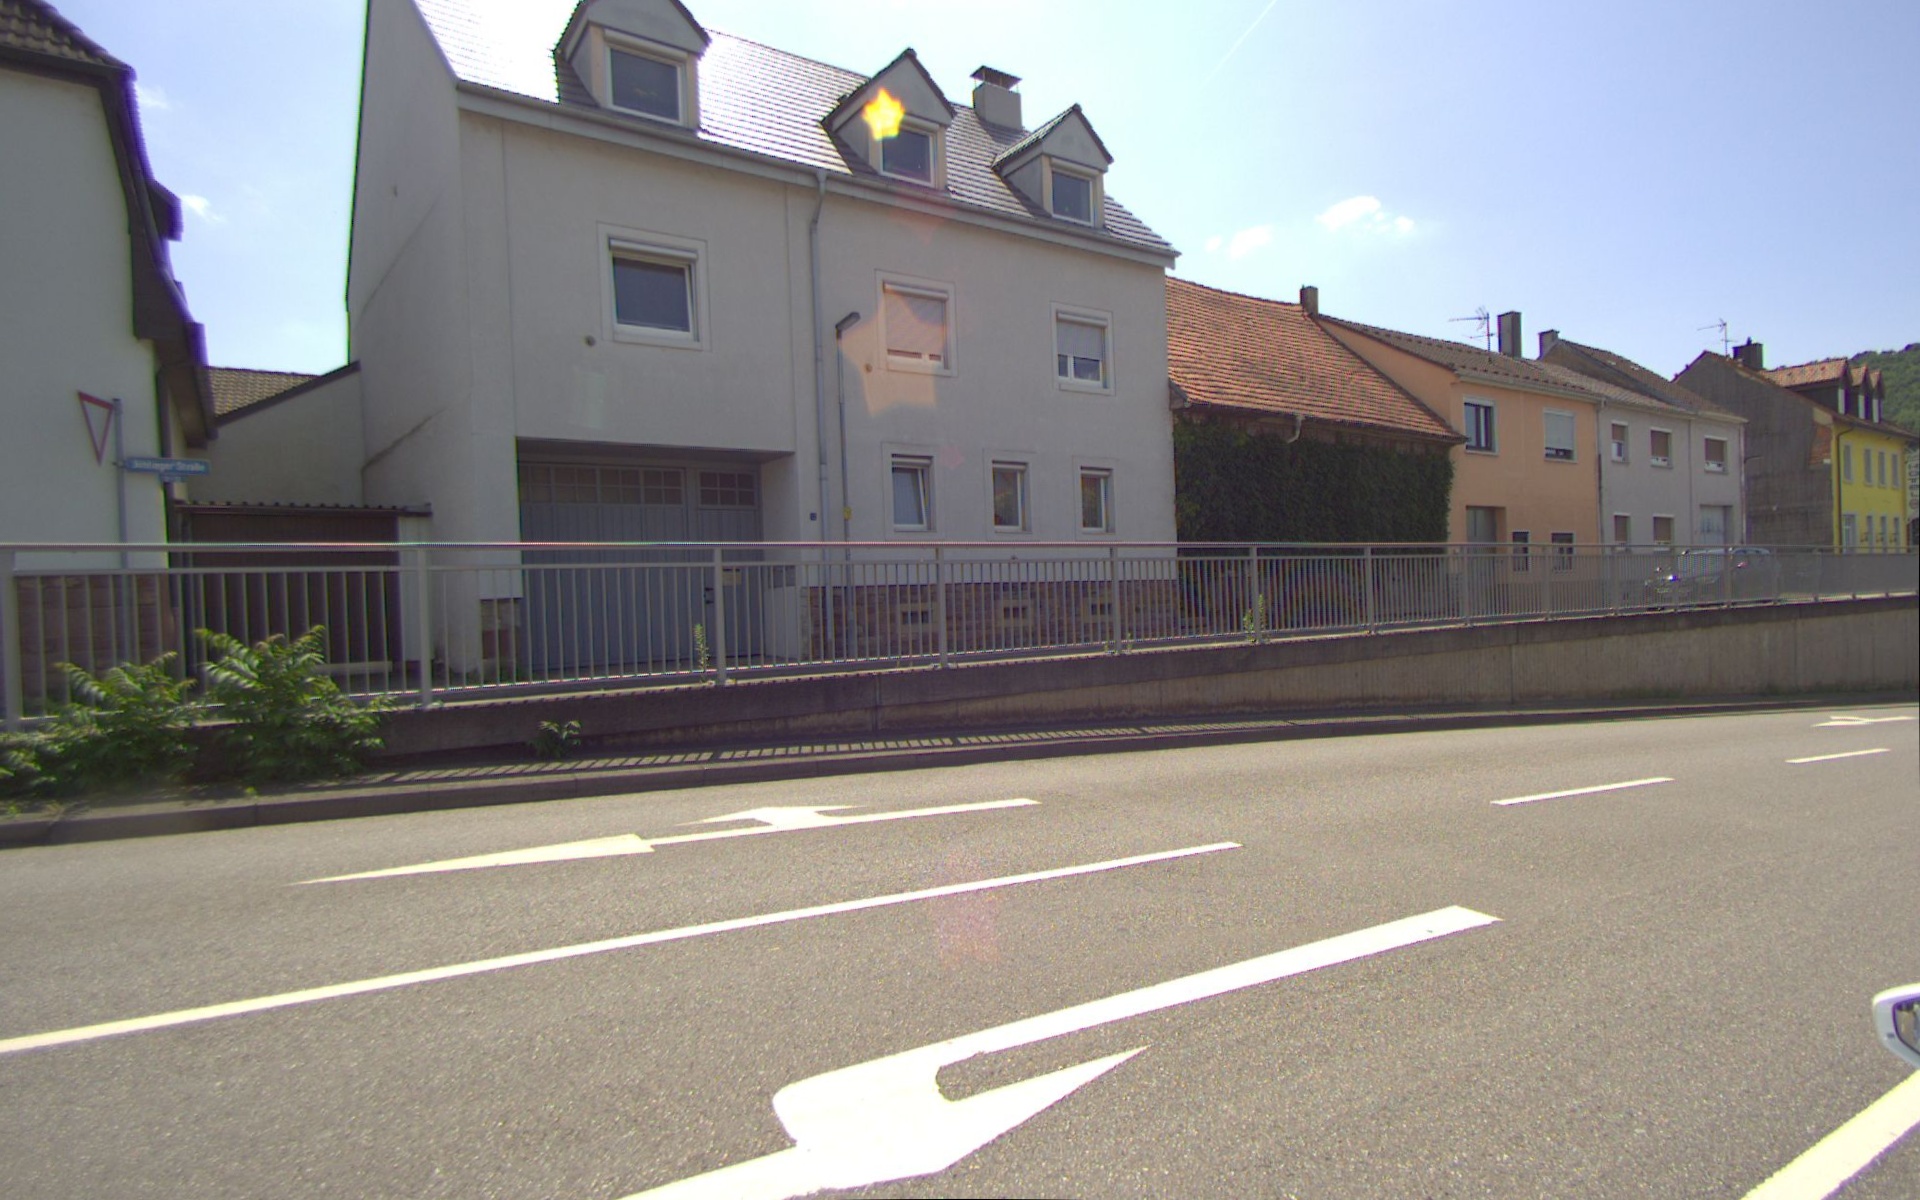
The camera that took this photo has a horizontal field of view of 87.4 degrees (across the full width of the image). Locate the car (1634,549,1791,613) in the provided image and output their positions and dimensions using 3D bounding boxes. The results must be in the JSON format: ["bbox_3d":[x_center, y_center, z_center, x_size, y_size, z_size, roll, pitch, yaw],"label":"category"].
[{"bbox_3d":[18.407,-0.447,24.510,4.348,1.424,1.774,-1,0,-34],"label":"car"}]
